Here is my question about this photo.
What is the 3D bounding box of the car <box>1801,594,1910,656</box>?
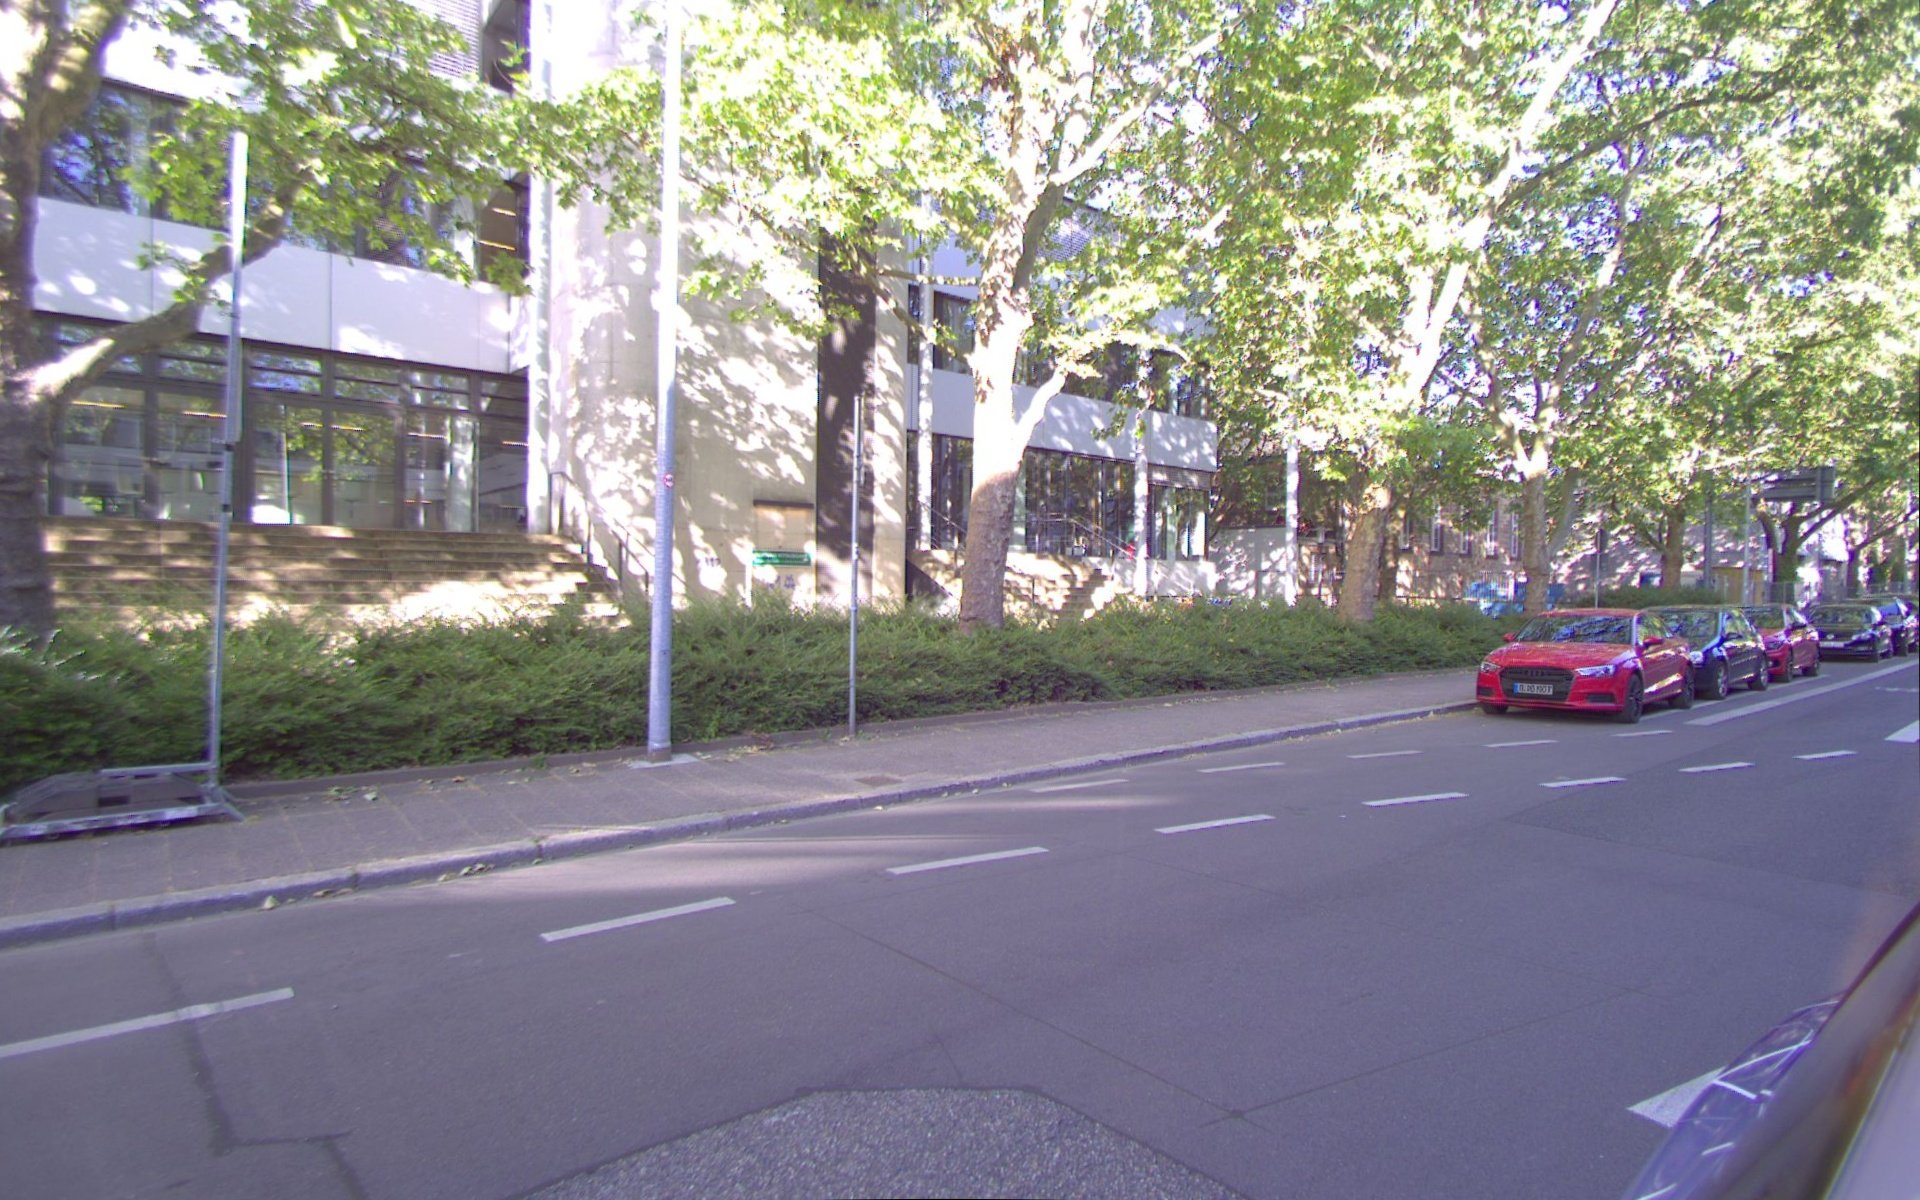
[{"bbox_3d":[23.260,0.601,26.258,3.674,1.483,1.634,0,-1,-41],"label":"car"}]

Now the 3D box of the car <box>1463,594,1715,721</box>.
[{"bbox_3d":[8.668,0.673,13.815,4.053,1.483,1.802,0,-1,-41],"label":"car"}]

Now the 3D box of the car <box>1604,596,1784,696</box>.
[{"bbox_3d":[12.270,0.689,16.851,3.674,1.483,1.634,0,-1,-41],"label":"car"}]

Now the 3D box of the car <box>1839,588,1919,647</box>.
[{"bbox_3d":[26.865,0.478,29.269,3.777,1.607,1.634,0,-1,-41],"label":"car"}]

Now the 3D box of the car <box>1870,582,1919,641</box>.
[{"bbox_3d":[31.206,0.355,33.113,3.777,1.828,1.634,0,-1,-41],"label":"car"}]

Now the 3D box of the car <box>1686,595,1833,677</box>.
[{"bbox_3d":[16.014,0.651,20.208,3.674,1.483,1.634,0,-1,-41],"label":"car"}]

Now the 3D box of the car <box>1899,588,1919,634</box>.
[{"bbox_3d":[36.236,0.394,37.539,3.777,1.675,1.634,0,-1,-41],"label":"car"}]
